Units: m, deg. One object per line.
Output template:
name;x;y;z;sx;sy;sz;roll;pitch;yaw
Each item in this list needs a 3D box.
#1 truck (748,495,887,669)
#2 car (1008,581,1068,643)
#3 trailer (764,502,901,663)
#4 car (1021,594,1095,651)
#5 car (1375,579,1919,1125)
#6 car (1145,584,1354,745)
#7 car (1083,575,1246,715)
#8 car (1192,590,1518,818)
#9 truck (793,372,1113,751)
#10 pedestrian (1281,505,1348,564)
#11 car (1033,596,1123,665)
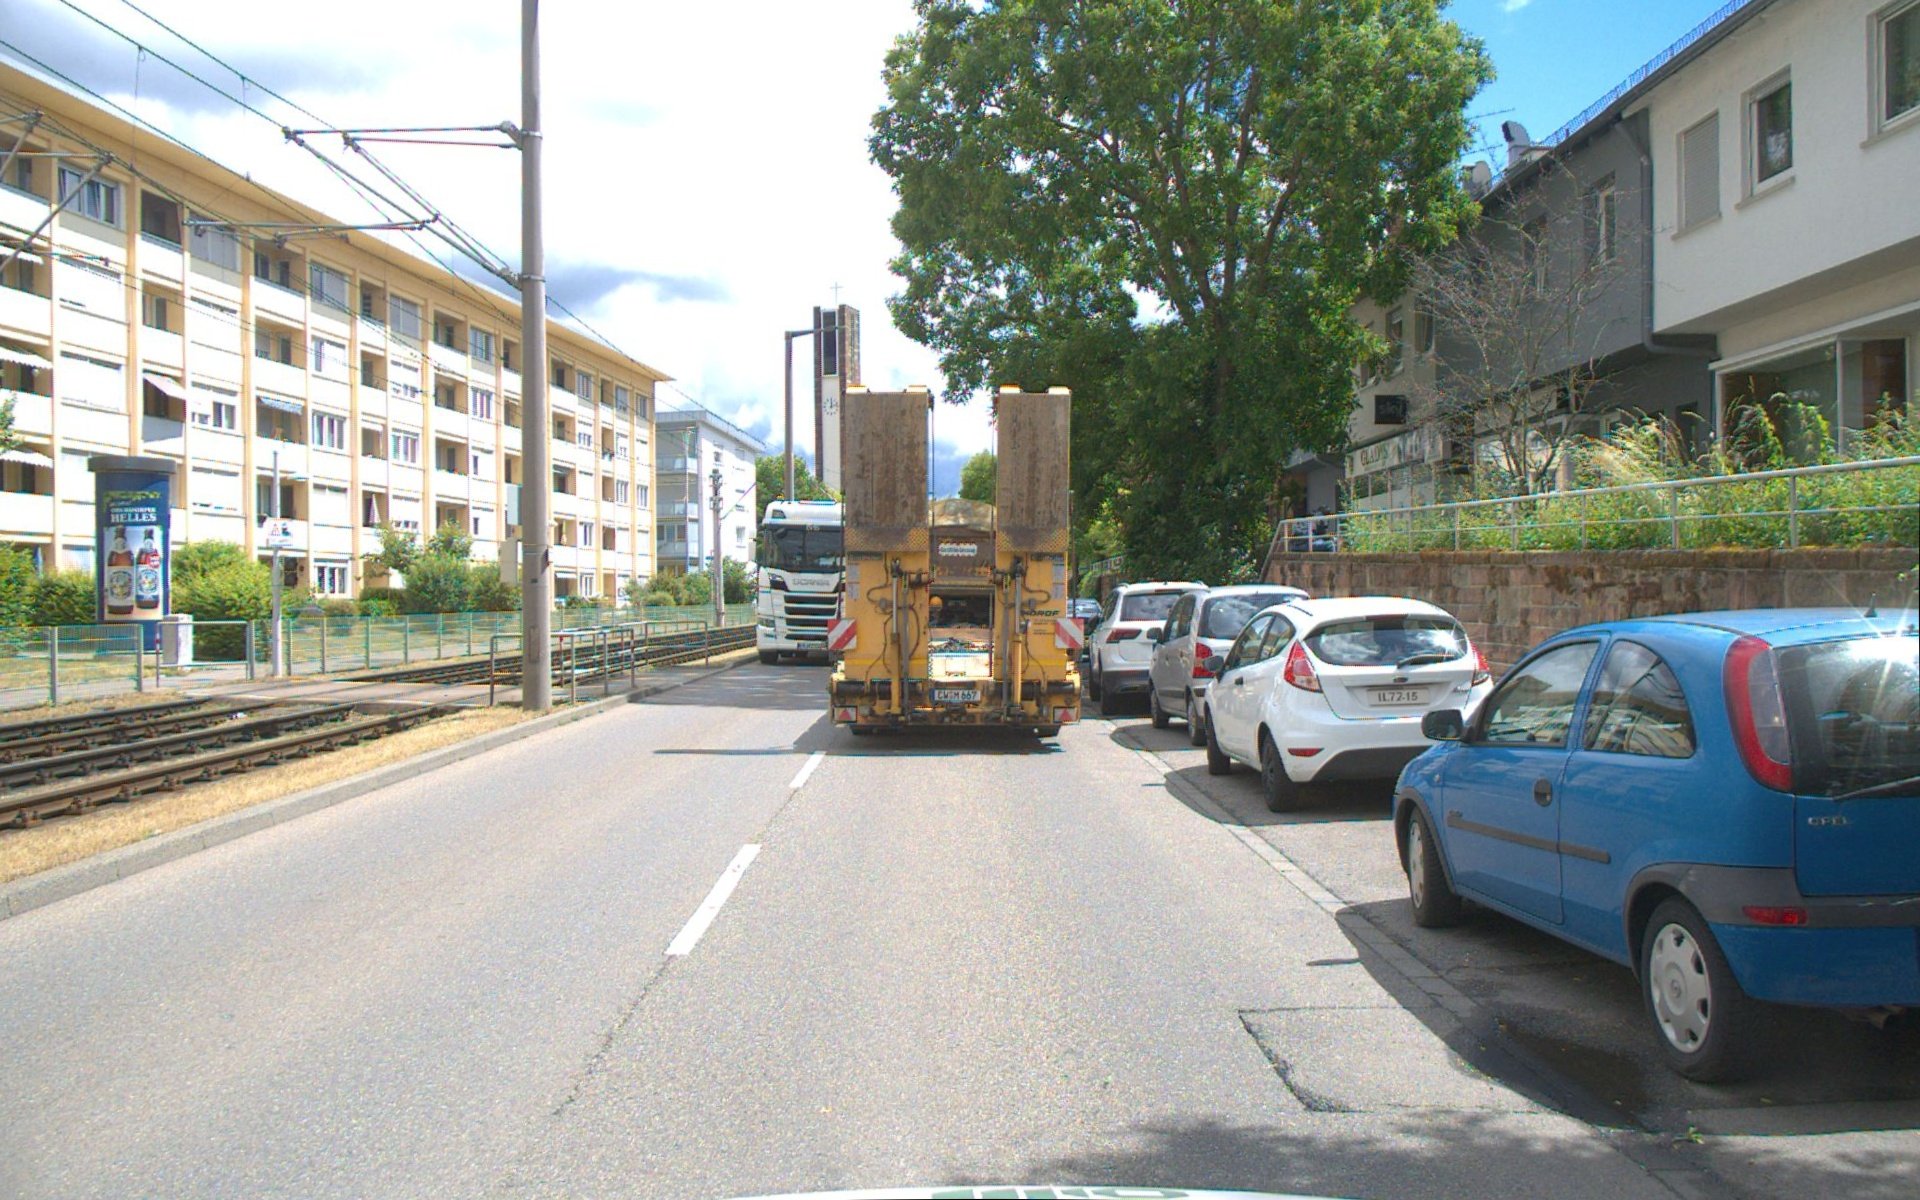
truck;-3.145;-0.404;38.065;2.643;3.643;6.144;1;0;0
car;2.599;0.371;56.080;1.762;2.003;4.589;-1;0;0
trailer;-3.166;-0.464;44.717;2.643;3.643;13.674;1;0;0
car;2.660;0.591;45.480;1.656;1.430;4.067;-1;0;-2
car;2.980;0.687;6.504;1.576;1.482;3.674;-2;0;-3
car;3.044;0.616;18.028;1.549;1.579;3.473;0;0;-2
car;2.710;0.540;22.857;1.786;1.711;4.577;-1;0;2
car;2.928;0.684;13.050;1.611;1.516;3.821;0;0;-1
truck;-0.173;-0.430;22.128;3.060;3.626;12.457;0;0;-1
pedestrian;4.948;-0.910;23.121;0.779;0.804;0.705;0;0;-2
car;2.669;0.654;38.256;1.798;1.430;4.414;-1;0;1
